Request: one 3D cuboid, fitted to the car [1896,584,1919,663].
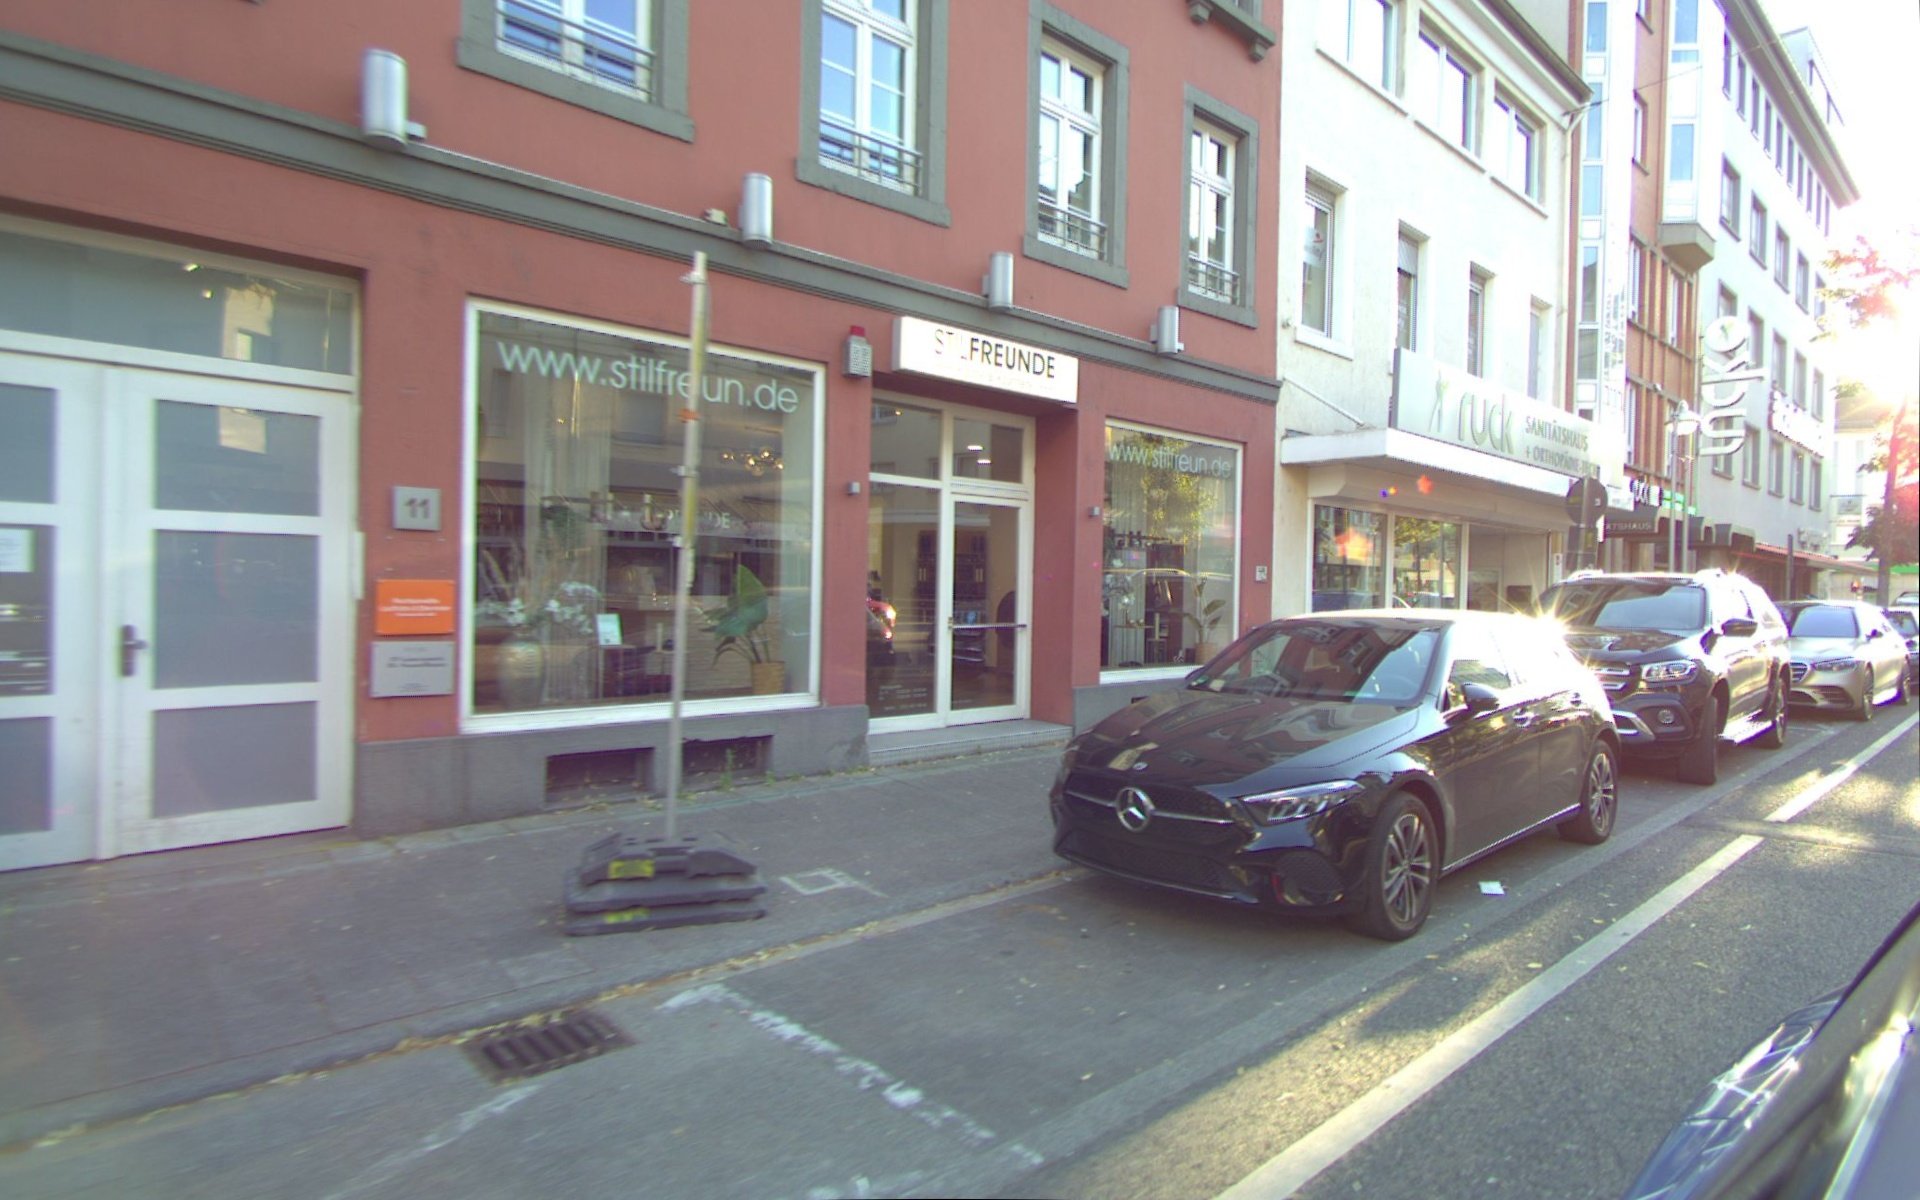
[{"bbox_3d":[23.619,0.557,24.185,3.945,1.801,1.655,1,-1,-45],"label":"car"}]

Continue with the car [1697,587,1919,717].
[{"bbox_3d":[12.291,0.597,14.361,4.904,1.546,1.816,-1,1,-40],"label":"car"}]

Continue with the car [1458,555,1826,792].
[{"bbox_3d":[6.900,0.518,9.973,4.972,1.776,1.886,-1,1,-42],"label":"car"}]

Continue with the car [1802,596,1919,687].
[{"bbox_3d":[16.530,0.673,18.025,4.432,1.438,1.755,1,0,-42],"label":"car"}]

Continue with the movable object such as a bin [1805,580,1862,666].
[{"bbox_3d":[19.019,0.472,22.028,1.331,1.796,0.835,0,0,-45],"label":"movable object such as a bin"}]

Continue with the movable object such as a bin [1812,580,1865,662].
[{"bbox_3d":[19.915,0.459,22.943,1.186,1.796,0.835,0,0,-45],"label":"movable object such as a bin"}]

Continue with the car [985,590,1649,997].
[{"bbox_3d":[2.293,0.701,5.833,4.232,1.502,1.765,-1,1,-41],"label":"car"}]

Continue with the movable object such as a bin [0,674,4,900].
[{"bbox_3d":[-4.389,0.823,4.287,0.477,0.950,0.553,0,1,-43],"label":"movable object such as a bin"}]
